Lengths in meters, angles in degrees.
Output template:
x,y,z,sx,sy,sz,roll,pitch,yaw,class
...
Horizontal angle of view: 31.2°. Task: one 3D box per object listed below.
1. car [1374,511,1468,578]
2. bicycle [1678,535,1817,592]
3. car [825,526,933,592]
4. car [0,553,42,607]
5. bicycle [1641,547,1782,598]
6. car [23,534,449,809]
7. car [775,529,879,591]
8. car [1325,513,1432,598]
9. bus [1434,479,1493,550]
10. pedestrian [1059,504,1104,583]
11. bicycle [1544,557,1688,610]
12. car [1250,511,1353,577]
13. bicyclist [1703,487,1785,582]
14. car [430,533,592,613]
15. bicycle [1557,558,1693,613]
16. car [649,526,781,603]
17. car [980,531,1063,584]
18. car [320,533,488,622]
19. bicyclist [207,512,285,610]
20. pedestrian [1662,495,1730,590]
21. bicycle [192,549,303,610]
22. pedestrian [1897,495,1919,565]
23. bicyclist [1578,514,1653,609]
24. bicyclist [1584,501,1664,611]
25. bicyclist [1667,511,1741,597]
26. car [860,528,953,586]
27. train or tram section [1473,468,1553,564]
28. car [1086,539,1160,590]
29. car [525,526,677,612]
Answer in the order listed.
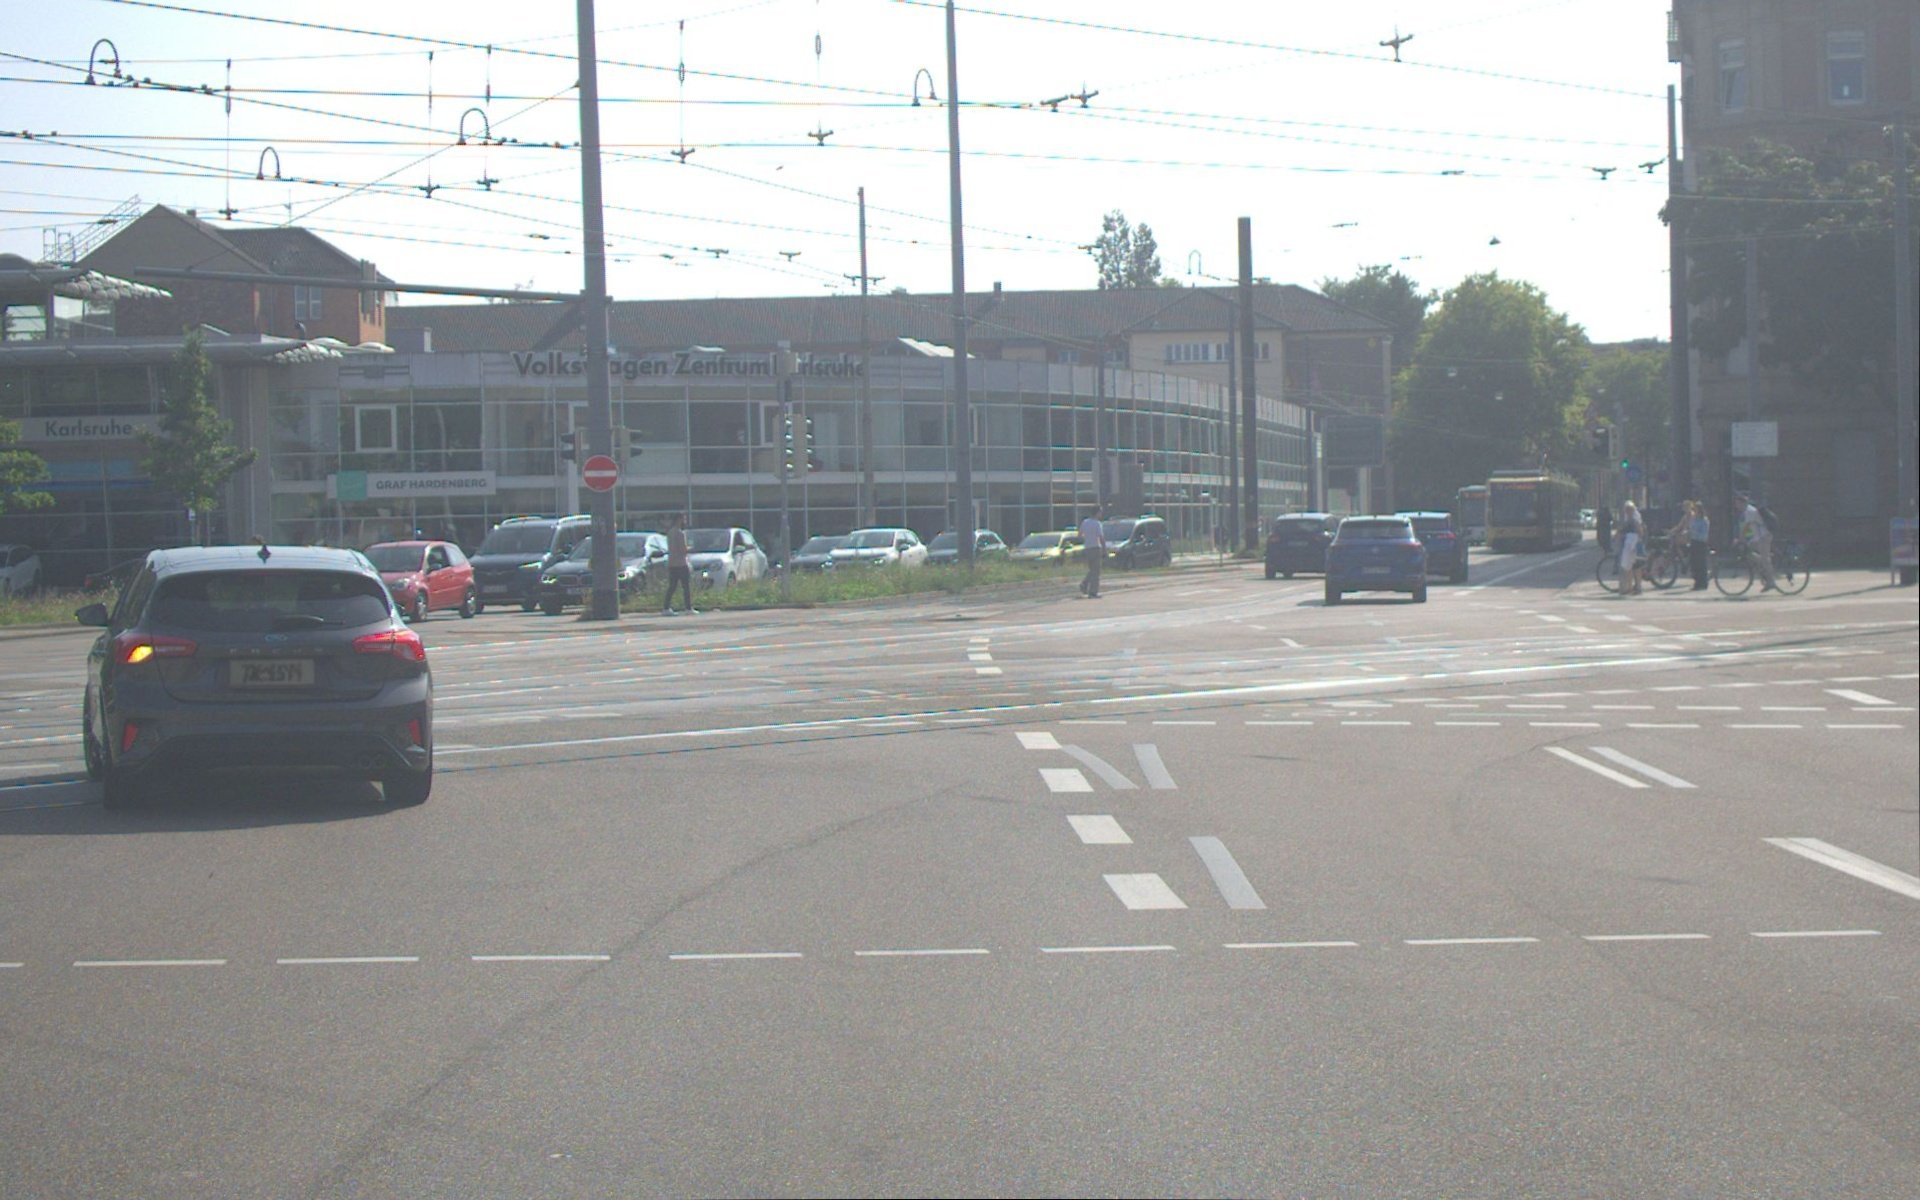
x,y,z,sx,sy,sz,roll,pitch,yaw,class
10.519,-1.290,78.201,1.826,1.423,4.410,-1,1,11,car
14.322,-0.673,62.476,2.619,0.961,1.093,-2,2,-40,bicycle
-1.917,-1.002,82.546,1.615,1.470,3.998,-3,1,13,car
-28.253,-0.584,100.415,1.699,1.517,4.099,-1,1,1,car
14.915,-0.553,68.231,2.618,0.961,1.093,-2,1,-27,bicycle
-4.401,0.348,20.361,1.831,1.430,4.551,1,1,-20,car
-3.391,-1.043,88.326,1.615,1.470,3.998,-3,1,13,car
7.565,-0.831,62.108,1.826,1.423,4.411,-1,1,7,car
26.907,-4.549,184.329,2.921,3.606,16.742,-1,1,8,bus
2.334,-1.082,66.003,0.778,1.498,0.710,-1,1,6,pedestrian
12.700,-0.329,66.549,2.618,0.961,1.093,-2,1,-27,bicycle
8.467,-1.401,84.992,1.827,1.530,4.409,-1,1,15,car
14.227,-1.189,62.396,0.934,1.702,1.092,-2,2,-40,bicyclist
-9.012,-0.570,69.293,1.961,1.470,3.998,-3,1,12,car
12.442,-0.278,64.258,2.619,0.961,1.093,-2,2,-40,bicycle
-5.026,-0.762,70.981,1.615,1.470,3.998,-3,1,12,car
1.853,-1.284,102.435,1.615,1.470,3.998,-3,1,13,car
-10.024,-0.424,62.240,1.615,1.470,3.998,-3,1,12,car
-12.854,-0.705,61.906,0.958,1.742,1.166,-1,1,13,bicyclist
14.032,-1.098,65.550,0.925,1.791,0.859,-2,2,-44,pedestrian
-12.834,-0.383,61.990,0.958,1.053,2.607,-1,1,13,bicycle
20.273,-1.486,72.835,0.546,1.466,0.666,0,1,43,pedestrian
12.680,-0.748,66.531,0.934,1.793,1.093,-2,1,-27,bicyclist
12.396,-0.819,64.222,0.934,2.017,1.092,-2,2,-40,bicyclist
14.738,-0.914,68.129,0.934,1.674,1.093,-2,1,-27,bicyclist
-1.469,-1.207,95.304,1.615,1.470,3.998,-3,1,13,car
22.524,-3.447,139.645,2.656,3.686,10.584,-1,1,12,train or tram section
5.168,-1.134,108.734,1.615,1.470,3.998,-3,1,13,car
-6.678,-0.604,64.327,1.615,1.470,3.998,-3,1,12,car
